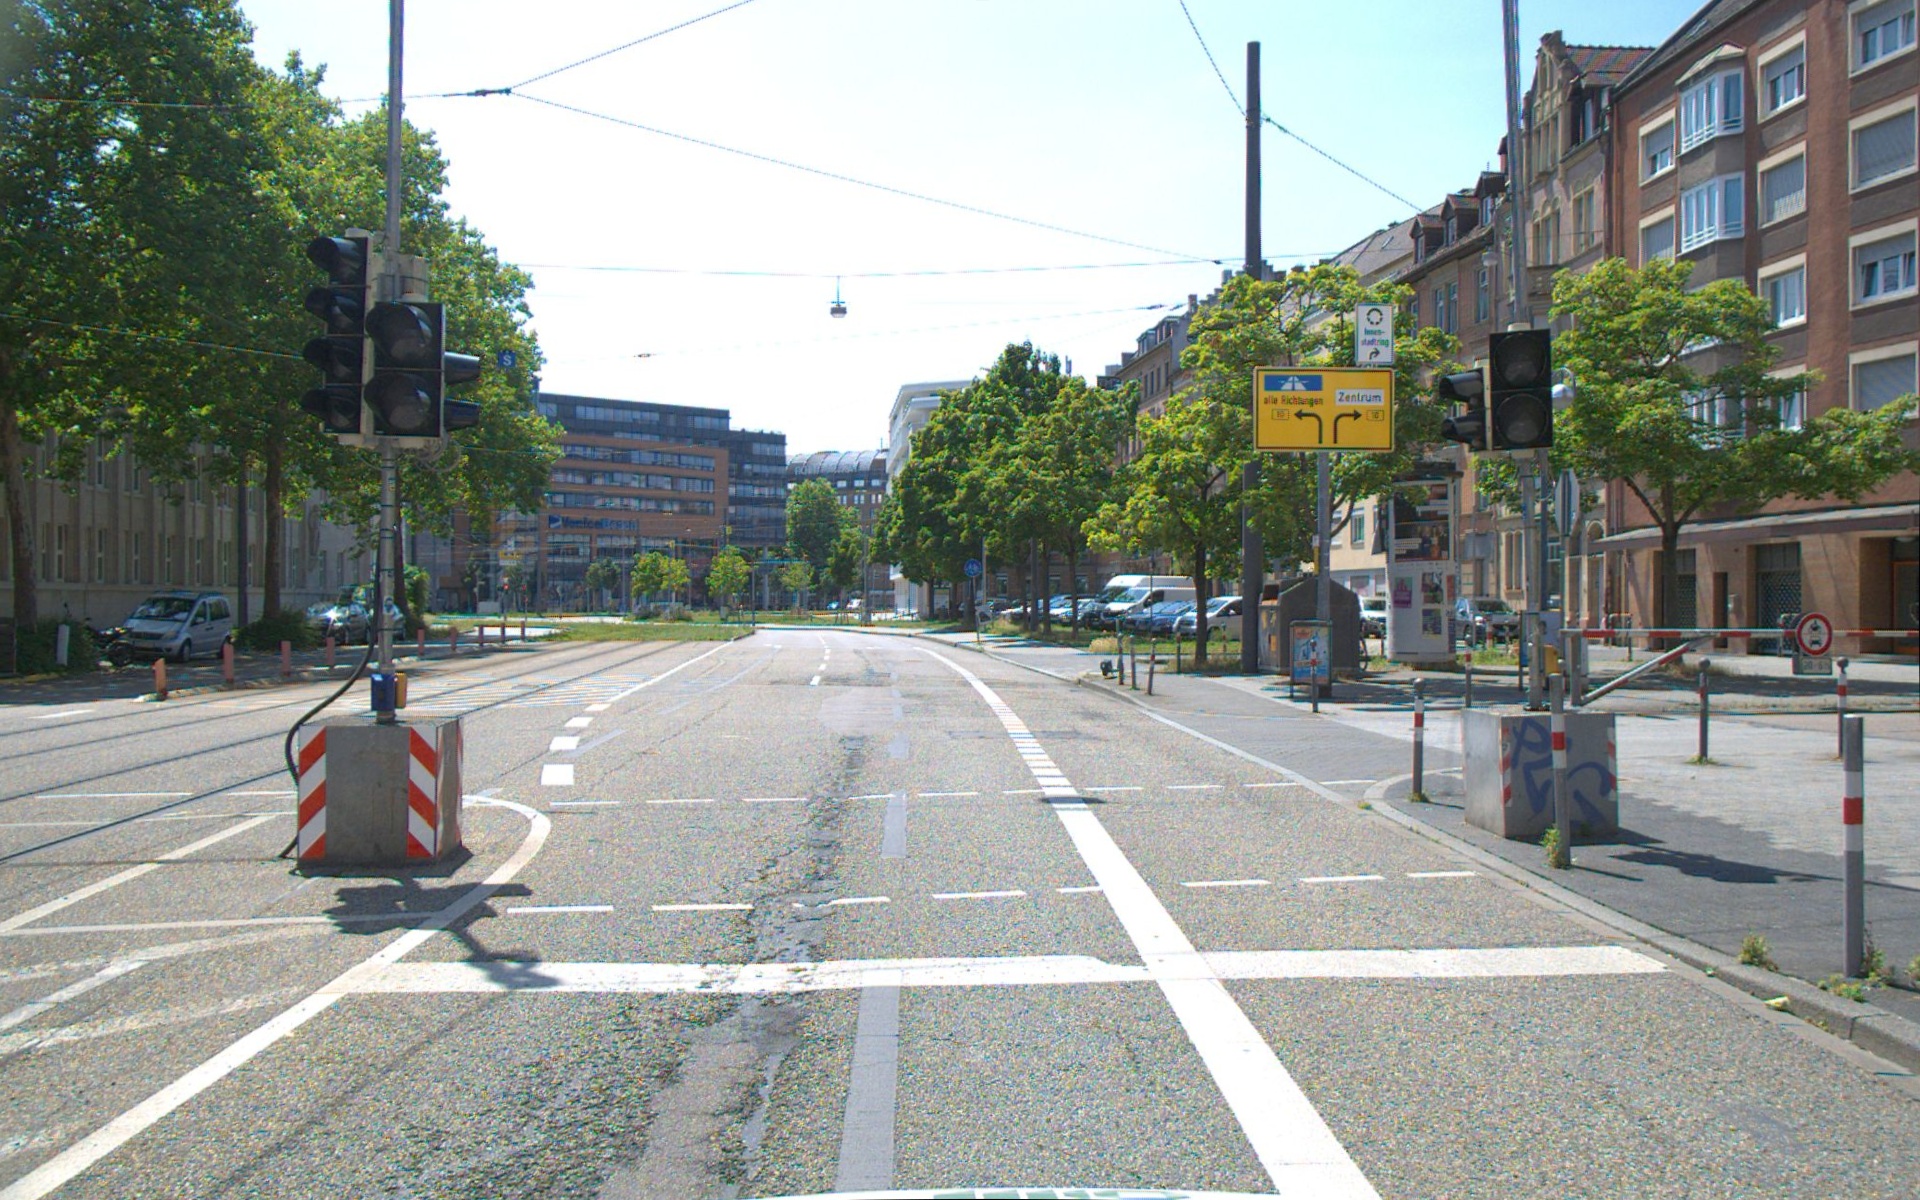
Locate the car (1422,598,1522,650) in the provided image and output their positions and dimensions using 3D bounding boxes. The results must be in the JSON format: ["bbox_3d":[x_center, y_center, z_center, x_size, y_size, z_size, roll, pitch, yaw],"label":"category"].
[{"bbox_3d":[16.851,0.775,54.652,1.952,1.628,4.599,1,0,1],"label":"car"}]

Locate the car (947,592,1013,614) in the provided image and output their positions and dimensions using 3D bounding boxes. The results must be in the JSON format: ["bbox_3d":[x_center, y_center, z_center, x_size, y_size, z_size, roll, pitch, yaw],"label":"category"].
[{"bbox_3d":[1.514,0.246,125.765,4.813,1.629,1.815,1,0,-33],"label":"car"}]

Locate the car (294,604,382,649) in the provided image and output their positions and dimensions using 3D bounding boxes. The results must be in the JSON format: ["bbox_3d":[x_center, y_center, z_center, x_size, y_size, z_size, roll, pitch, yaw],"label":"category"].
[{"bbox_3d":[-21.745,0.904,57.976,1.728,1.509,4.319,1,0,-5],"label":"car"}]

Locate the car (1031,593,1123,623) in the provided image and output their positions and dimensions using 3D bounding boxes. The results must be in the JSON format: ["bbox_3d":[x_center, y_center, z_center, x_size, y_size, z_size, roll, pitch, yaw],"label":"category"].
[{"bbox_3d":[5.858,0.412,82.557,4.653,1.452,1.942,1,0,-43],"label":"car"}]

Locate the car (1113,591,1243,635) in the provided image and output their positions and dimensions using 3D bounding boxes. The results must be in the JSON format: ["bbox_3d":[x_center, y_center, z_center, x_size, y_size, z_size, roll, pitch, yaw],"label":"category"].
[{"bbox_3d":[8.088,0.486,61.213,4.569,1.523,1.946,1,0,-30],"label":"car"}]

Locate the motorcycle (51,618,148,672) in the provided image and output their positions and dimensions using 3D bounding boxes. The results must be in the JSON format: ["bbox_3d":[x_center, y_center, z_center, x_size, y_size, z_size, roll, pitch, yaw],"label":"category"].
[{"bbox_3d":[-20.249,1.070,38.930,1.852,1.087,0.718,8,-4,-37],"label":"motorcycle"}]

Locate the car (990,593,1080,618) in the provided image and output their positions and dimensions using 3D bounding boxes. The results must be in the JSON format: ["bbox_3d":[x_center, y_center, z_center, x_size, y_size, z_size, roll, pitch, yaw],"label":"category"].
[{"bbox_3d":[4.296,0.314,94.175,4.717,1.336,2.130,1,0,-28],"label":"car"}]

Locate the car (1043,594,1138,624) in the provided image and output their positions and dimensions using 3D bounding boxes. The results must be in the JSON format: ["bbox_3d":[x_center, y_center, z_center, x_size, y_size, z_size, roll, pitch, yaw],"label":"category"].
[{"bbox_3d":[6.263,0.446,79.117,4.386,1.362,1.945,1,0,-38],"label":"car"}]

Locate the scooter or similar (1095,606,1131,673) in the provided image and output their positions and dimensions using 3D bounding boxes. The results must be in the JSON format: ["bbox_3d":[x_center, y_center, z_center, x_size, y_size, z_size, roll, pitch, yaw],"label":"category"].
[{"bbox_3d":[3.041,0.771,32.776,0.382,1.235,1.180,-3,1,18],"label":"scooter or similar"}]

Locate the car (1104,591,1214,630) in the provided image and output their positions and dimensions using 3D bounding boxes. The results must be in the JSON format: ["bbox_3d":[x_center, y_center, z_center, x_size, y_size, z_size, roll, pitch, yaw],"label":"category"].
[{"bbox_3d":[7.771,0.410,64.460,3.939,1.411,1.808,1,0,-27],"label":"car"}]

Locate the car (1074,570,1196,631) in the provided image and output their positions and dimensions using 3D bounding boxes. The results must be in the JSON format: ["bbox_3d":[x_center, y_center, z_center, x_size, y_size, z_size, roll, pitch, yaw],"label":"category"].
[{"bbox_3d":[7.595,0.056,71.452,5.505,2.504,2.203,1,-1,-43],"label":"car"}]

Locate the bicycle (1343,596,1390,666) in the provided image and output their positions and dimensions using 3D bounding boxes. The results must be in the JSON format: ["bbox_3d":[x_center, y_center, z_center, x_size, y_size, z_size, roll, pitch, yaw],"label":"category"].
[{"bbox_3d":[7.882,0.596,32.099,0.503,1.312,1.546,1,0,-1],"label":"bicycle"}]

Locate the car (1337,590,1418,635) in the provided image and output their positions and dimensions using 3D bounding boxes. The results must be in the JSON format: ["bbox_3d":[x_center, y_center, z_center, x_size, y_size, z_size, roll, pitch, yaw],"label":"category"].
[{"bbox_3d":[16.463,0.496,65.452,1.784,1.713,3.994,1,0,-7],"label":"car"}]

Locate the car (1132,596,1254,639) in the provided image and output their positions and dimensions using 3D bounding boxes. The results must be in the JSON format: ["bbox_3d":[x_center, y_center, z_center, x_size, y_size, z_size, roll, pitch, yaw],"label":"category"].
[{"bbox_3d":[8.170,0.611,58.029,3.939,1.424,1.808,1,0,-27],"label":"car"}]

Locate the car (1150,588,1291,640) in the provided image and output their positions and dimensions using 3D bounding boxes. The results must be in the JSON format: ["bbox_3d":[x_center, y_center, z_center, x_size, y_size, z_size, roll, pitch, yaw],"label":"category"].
[{"bbox_3d":[8.676,0.464,55.135,4.347,1.660,1.982,1,0,-28],"label":"car"}]

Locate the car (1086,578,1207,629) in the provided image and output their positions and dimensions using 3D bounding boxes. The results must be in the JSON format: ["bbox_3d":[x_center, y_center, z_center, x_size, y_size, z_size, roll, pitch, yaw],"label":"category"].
[{"bbox_3d":[7.697,0.170,67.939,4.791,2.007,2.051,1,0,-35],"label":"car"}]

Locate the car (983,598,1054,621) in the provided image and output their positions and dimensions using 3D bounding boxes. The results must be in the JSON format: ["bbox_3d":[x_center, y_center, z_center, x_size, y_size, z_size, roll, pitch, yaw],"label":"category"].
[{"bbox_3d":[3.596,0.557,101.618,3.941,1.336,1.954,1,0,-28],"label":"car"}]

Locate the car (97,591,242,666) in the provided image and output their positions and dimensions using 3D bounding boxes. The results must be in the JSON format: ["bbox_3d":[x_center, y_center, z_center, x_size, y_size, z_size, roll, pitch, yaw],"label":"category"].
[{"bbox_3d":[-20.777,0.728,43.677,1.954,1.842,4.297,1,0,-4],"label":"car"}]

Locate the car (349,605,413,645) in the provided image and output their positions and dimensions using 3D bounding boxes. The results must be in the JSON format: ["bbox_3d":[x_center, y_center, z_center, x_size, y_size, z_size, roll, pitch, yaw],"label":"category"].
[{"bbox_3d":[-22.200,0.945,63.553,1.558,1.448,4.314,1,0,-9],"label":"car"}]

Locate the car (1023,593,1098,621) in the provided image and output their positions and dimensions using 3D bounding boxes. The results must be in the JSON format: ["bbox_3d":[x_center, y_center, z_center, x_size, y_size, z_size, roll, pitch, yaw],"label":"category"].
[{"bbox_3d":[5.417,0.402,89.008,3.959,1.424,1.689,1,0,-38],"label":"car"}]
